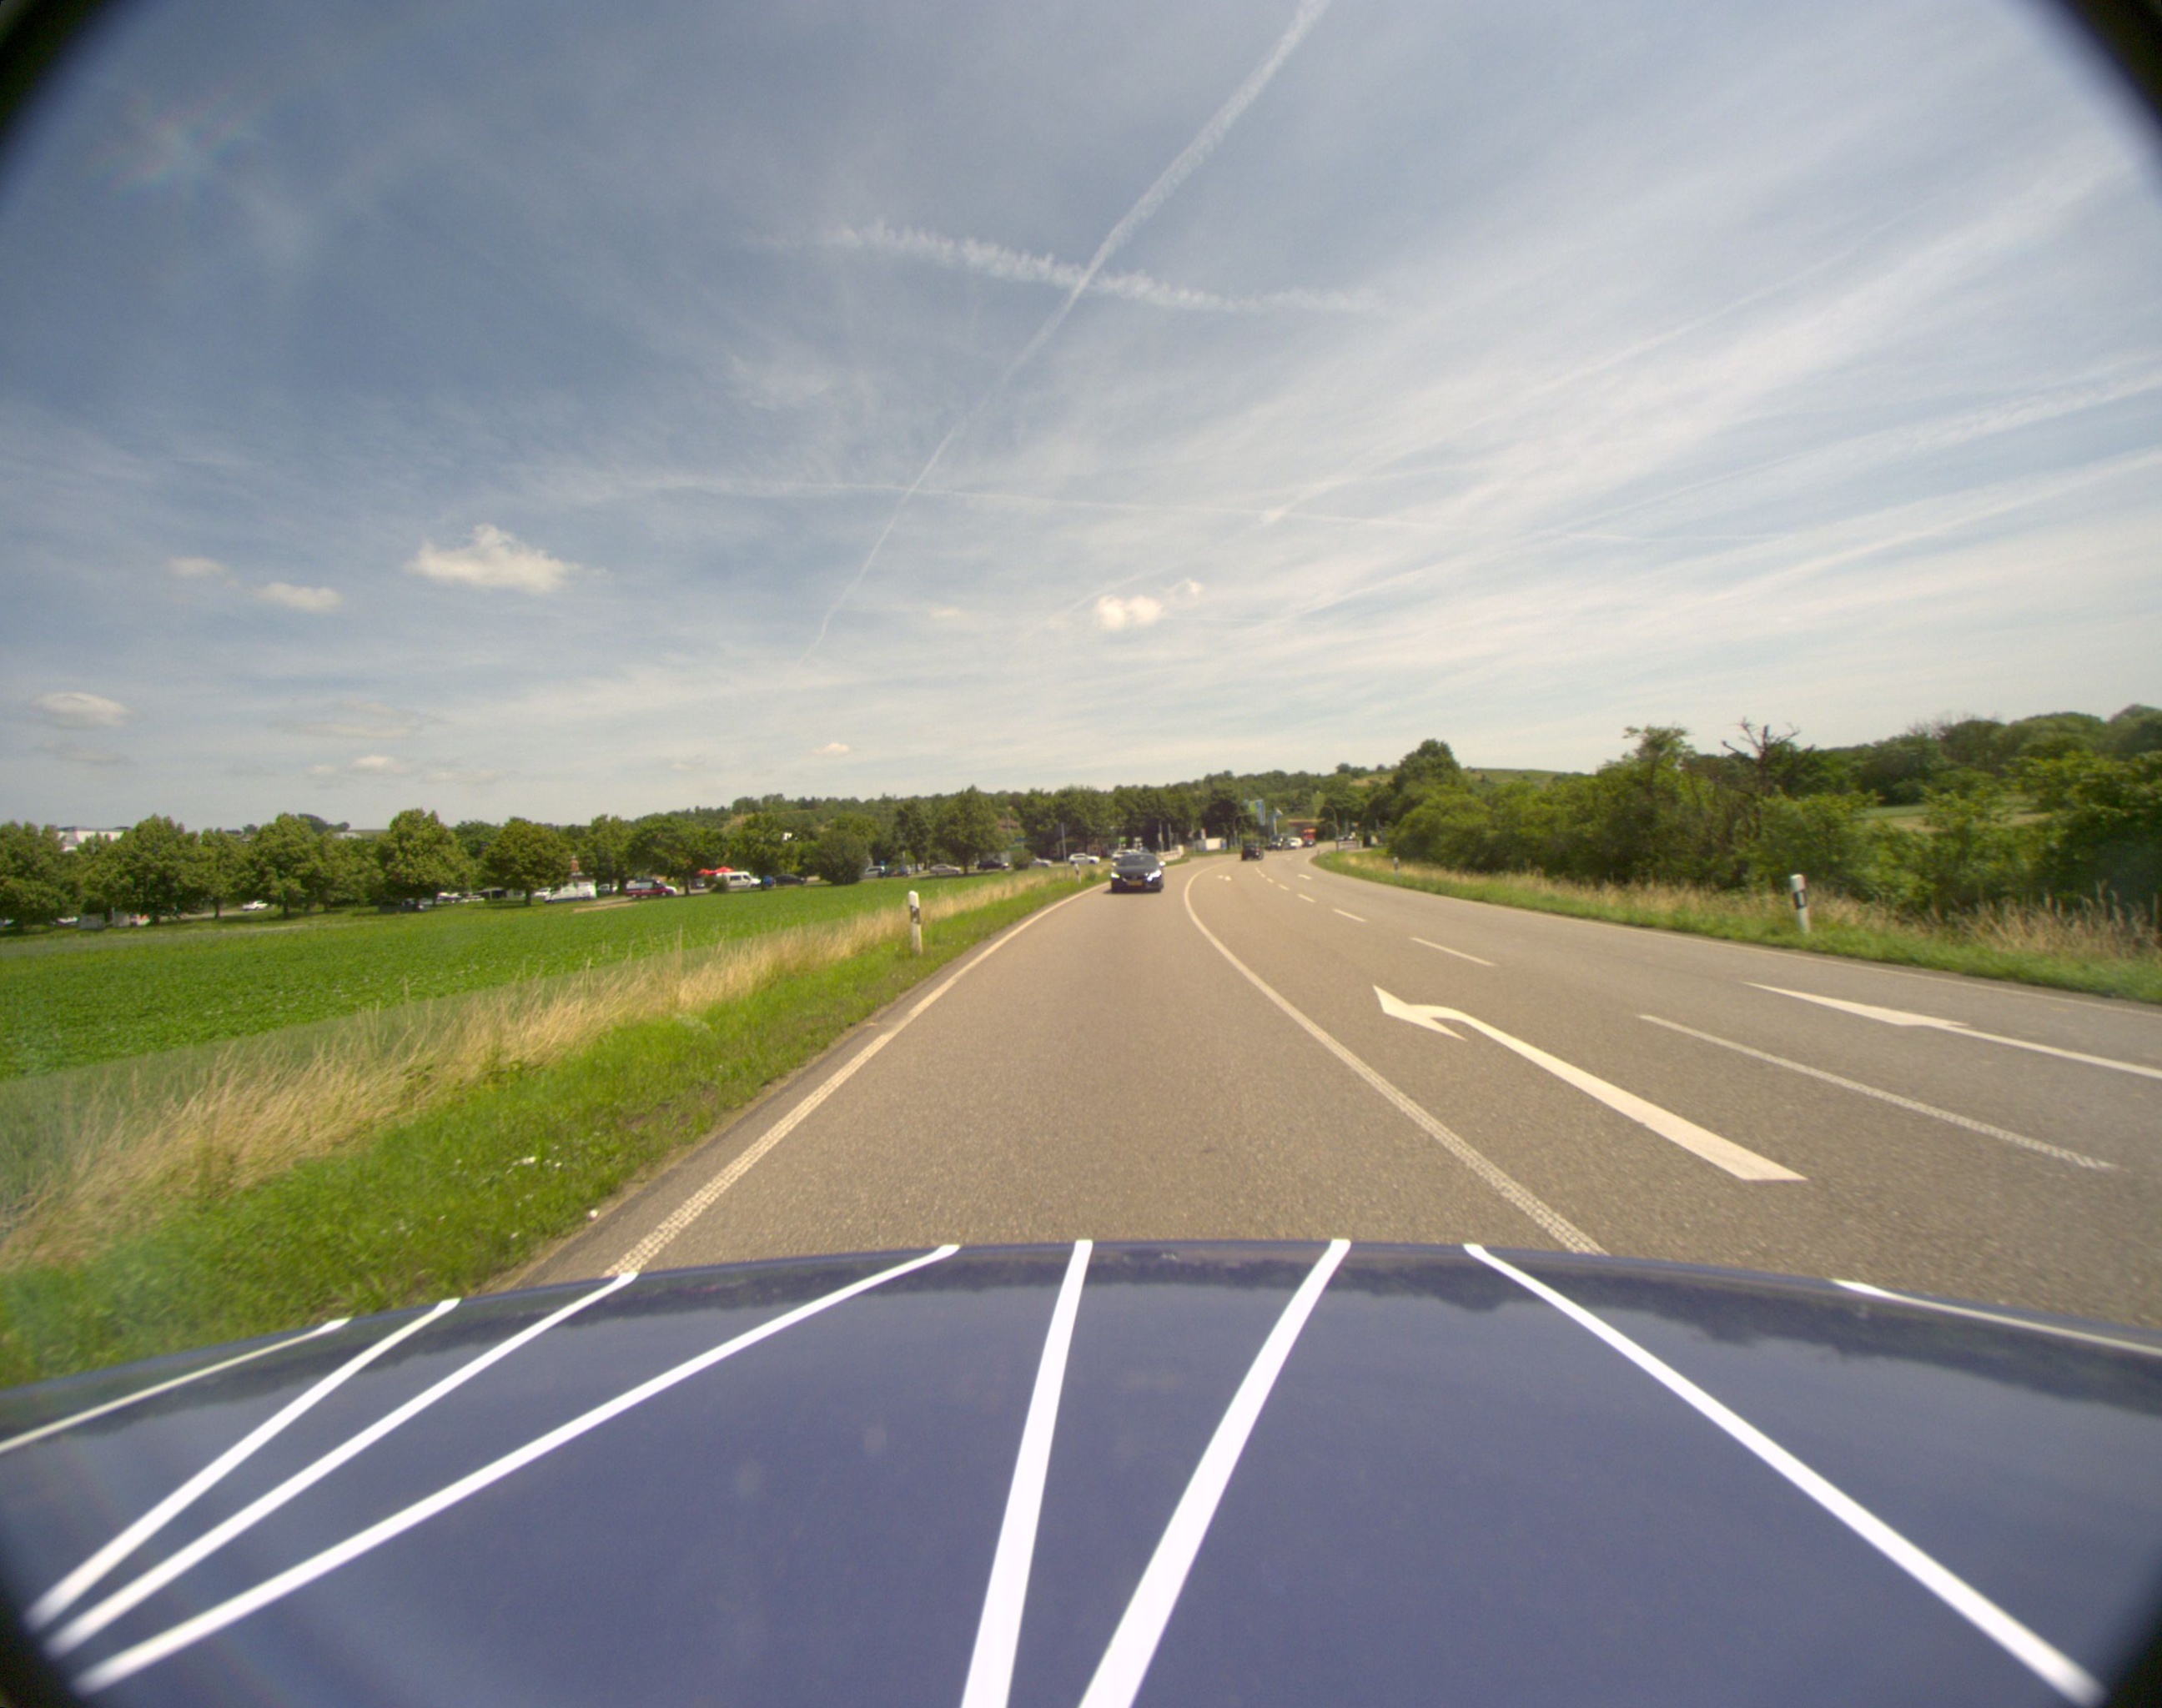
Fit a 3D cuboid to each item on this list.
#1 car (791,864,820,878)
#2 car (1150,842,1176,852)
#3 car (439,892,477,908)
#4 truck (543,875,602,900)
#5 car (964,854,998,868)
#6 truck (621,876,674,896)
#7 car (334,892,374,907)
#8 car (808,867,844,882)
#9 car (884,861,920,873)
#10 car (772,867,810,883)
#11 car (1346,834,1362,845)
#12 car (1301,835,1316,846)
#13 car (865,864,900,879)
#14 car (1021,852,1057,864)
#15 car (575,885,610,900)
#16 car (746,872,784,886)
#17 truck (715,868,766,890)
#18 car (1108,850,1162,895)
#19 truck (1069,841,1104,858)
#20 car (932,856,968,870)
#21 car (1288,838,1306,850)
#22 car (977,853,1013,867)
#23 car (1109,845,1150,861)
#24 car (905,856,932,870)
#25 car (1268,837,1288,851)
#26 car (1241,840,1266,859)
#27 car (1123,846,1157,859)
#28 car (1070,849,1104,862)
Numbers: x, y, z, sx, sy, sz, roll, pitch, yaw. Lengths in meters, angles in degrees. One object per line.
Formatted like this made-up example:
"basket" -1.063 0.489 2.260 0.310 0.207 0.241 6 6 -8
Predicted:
"car" -42.301 2.582 116.723 4.003 1.814 1.819 -5 2 -21
"car" 15.383 -1.324 143.073 4.636 1.613 1.995 -5 3 -35
"car" -93.109 6.874 113.574 3.999 1.814 1.821 -4 2 -6
"truck" -67.676 4.485 101.161 5.944 2.723 2.070 -4 4 -12
"car" -14.461 0.981 109.917 4.523 1.682 1.866 -4 2 1
"truck" -55.832 4.101 97.891 5.476 1.965 1.798 -5 2 -13
"car" -109.102 6.825 114.077 3.999 1.814 1.732 -4 2 -6
"car" -36.351 2.888 108.437 4.525 1.682 1.865 -4 2 -7
"car" -24.358 1.794 103.695 4.561 1.266 1.799 -4 2 -8
"car" -39.019 2.838 102.178 4.291 1.688 1.998 -4 2 -7
"car" 46.816 -2.443 130.147 1.995 1.686 4.006 -1 2 27
"car" 39.627 -2.382 132.351 1.806 1.722 4.006 -3 0 26
"car" -27.911 2.418 106.928 4.526 1.682 1.865 -4 2 -10
"car" -5.636 0.543 103.200 4.555 1.502 1.801 -2 3 9
"car" -74.026 5.854 115.226 3.999 1.814 1.821 -4 2 -6
"car" -43.241 3.443 104.048 4.386 1.549 1.784 -3 0 -4
"truck" -45.012 3.257 100.532 5.640 2.353 2.050 -5 2 -14
"car" 2.075 0.631 28.125 1.782 1.484 4.159 -1 0 7
"truck" 1.029 -0.844 137.112 6.158 2.603 2.257 -5 2 -37
"car" -17.845 1.247 103.777 4.559 1.502 1.800 -4 2 -2
"car" 35.059 -1.667 123.263 1.806 1.723 4.006 -3 3 32
"car" -11.785 0.833 104.320 4.556 1.502 1.800 -3 4 7
"car" 6.169 -0.085 95.786 4.630 1.598 2.001 -4 3 27
"car" -25.832 1.391 120.859 3.999 1.814 1.821 -4 2 -7
"car" 29.959 -1.505 115.349 1.806 1.723 4.006 -3 3 32
"car" 17.106 -0.492 75.173 1.773 1.649 4.005 -2 2 22
"car" 7.709 -0.216 99.696 3.962 1.411 1.830 -2 3 27
"car" 0.790 0.188 101.525 4.098 1.411 1.802 -3 3 15
